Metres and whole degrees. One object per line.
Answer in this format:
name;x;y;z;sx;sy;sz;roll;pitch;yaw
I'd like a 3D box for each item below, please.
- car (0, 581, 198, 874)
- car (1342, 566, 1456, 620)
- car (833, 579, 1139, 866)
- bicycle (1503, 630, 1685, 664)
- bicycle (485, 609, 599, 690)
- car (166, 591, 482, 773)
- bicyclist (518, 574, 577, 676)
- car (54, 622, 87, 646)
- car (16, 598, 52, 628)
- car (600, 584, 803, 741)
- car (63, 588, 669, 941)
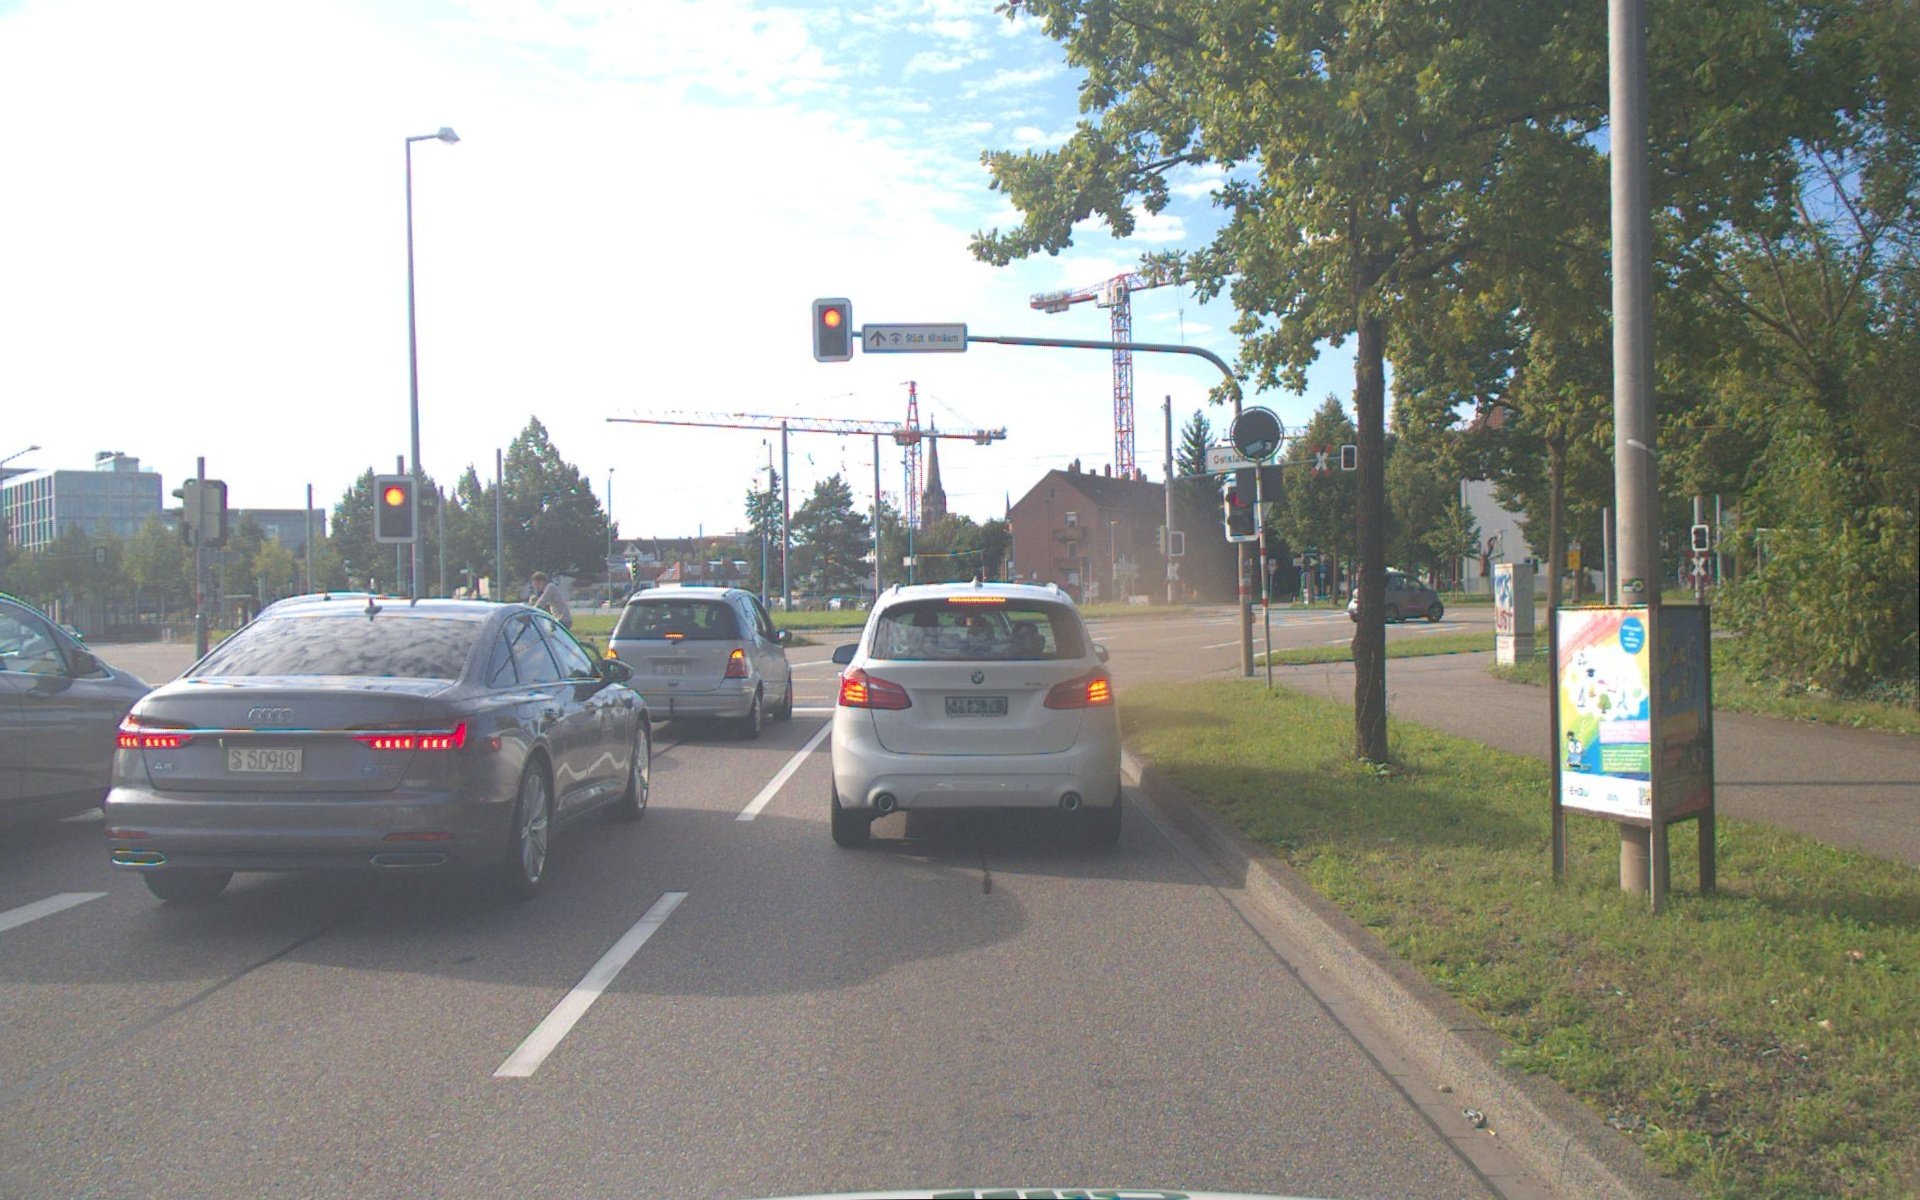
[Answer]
car;-6.056;0.693;9.317;1.694;1.586;4.018;0;0;-1
car;13.718;-0.234;51.684;3.141;1.601;1.566;-1;1;-20
car;0.110;0.668;11.187;1.694;1.585;4.057;0;0;-1
bicycle;9.432;0.688;24.765;1.382;0.392;2.569;-2;0;-12
bicycle;-6.544;0.761;25.892;1.698;1.184;0.653;-1;1;-17
car;-5.969;0.694;15.998;1.646;1.549;3.809;0;0;-1
bicyclist;-6.472;0.386;25.924;0.835;1.553;0.737;-2;0;-17
car;-59.226;2.225;110.089;1.601;1.490;3.687;-2;1;-33
car;-52.122;0.750;93.121;1.574;1.439;3.636;-3;-1;-28
car;-2.797;0.624;18.713;1.694;1.585;4.057;0;0;-1
car;-2.950;0.711;9.410;1.851;1.509;4.612;0;0;-1
